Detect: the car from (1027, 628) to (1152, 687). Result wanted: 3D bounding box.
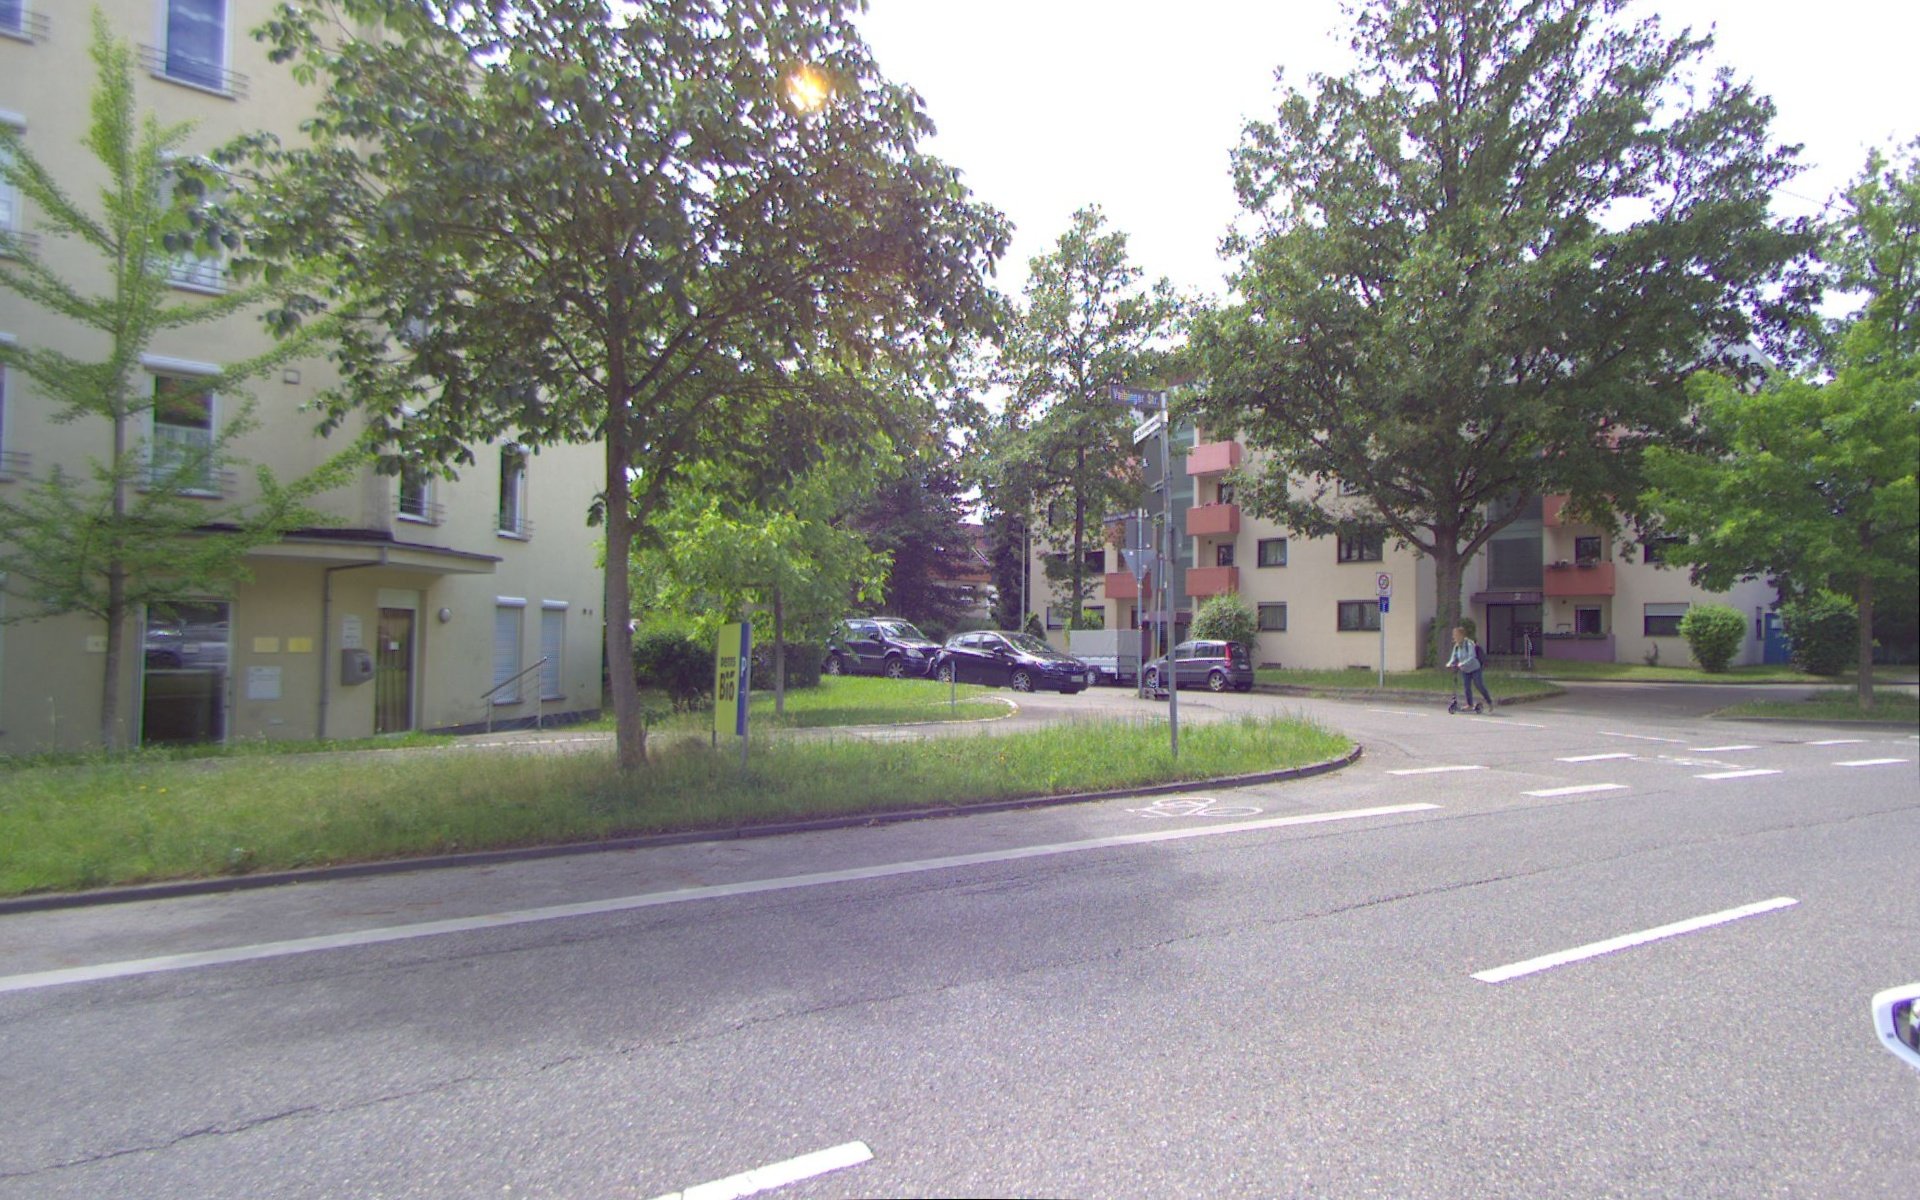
[{"bbox_3d":[4.345,1.973,34.109,1.832,1.868,3.952,2,-5,-42],"label":"car"}]

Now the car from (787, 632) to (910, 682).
[{"bbox_3d":[-4.343,2.170,39.116,4.337,1.817,2.124,-1,-2,28],"label":"car"}]

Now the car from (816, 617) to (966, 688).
[{"bbox_3d":[-1.990,1.387,27.810,1.857,1.675,4.379,2,0,-41],"label":"car"}]

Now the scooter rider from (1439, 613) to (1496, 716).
[{"bbox_3d":[10.384,1.315,20.566,0.785,2.040,0.673,2,0,-30],"label":"scooter rider"}]

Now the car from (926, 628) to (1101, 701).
[{"bbox_3d":[1.183,1.457,23.765,1.725,1.417,4.100,2,0,-42],"label":"car"}]

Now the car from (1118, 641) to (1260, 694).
[{"bbox_3d":[6.931,2.014,30.666,3.945,1.471,1.687,-2,-3,43],"label":"car"}]
